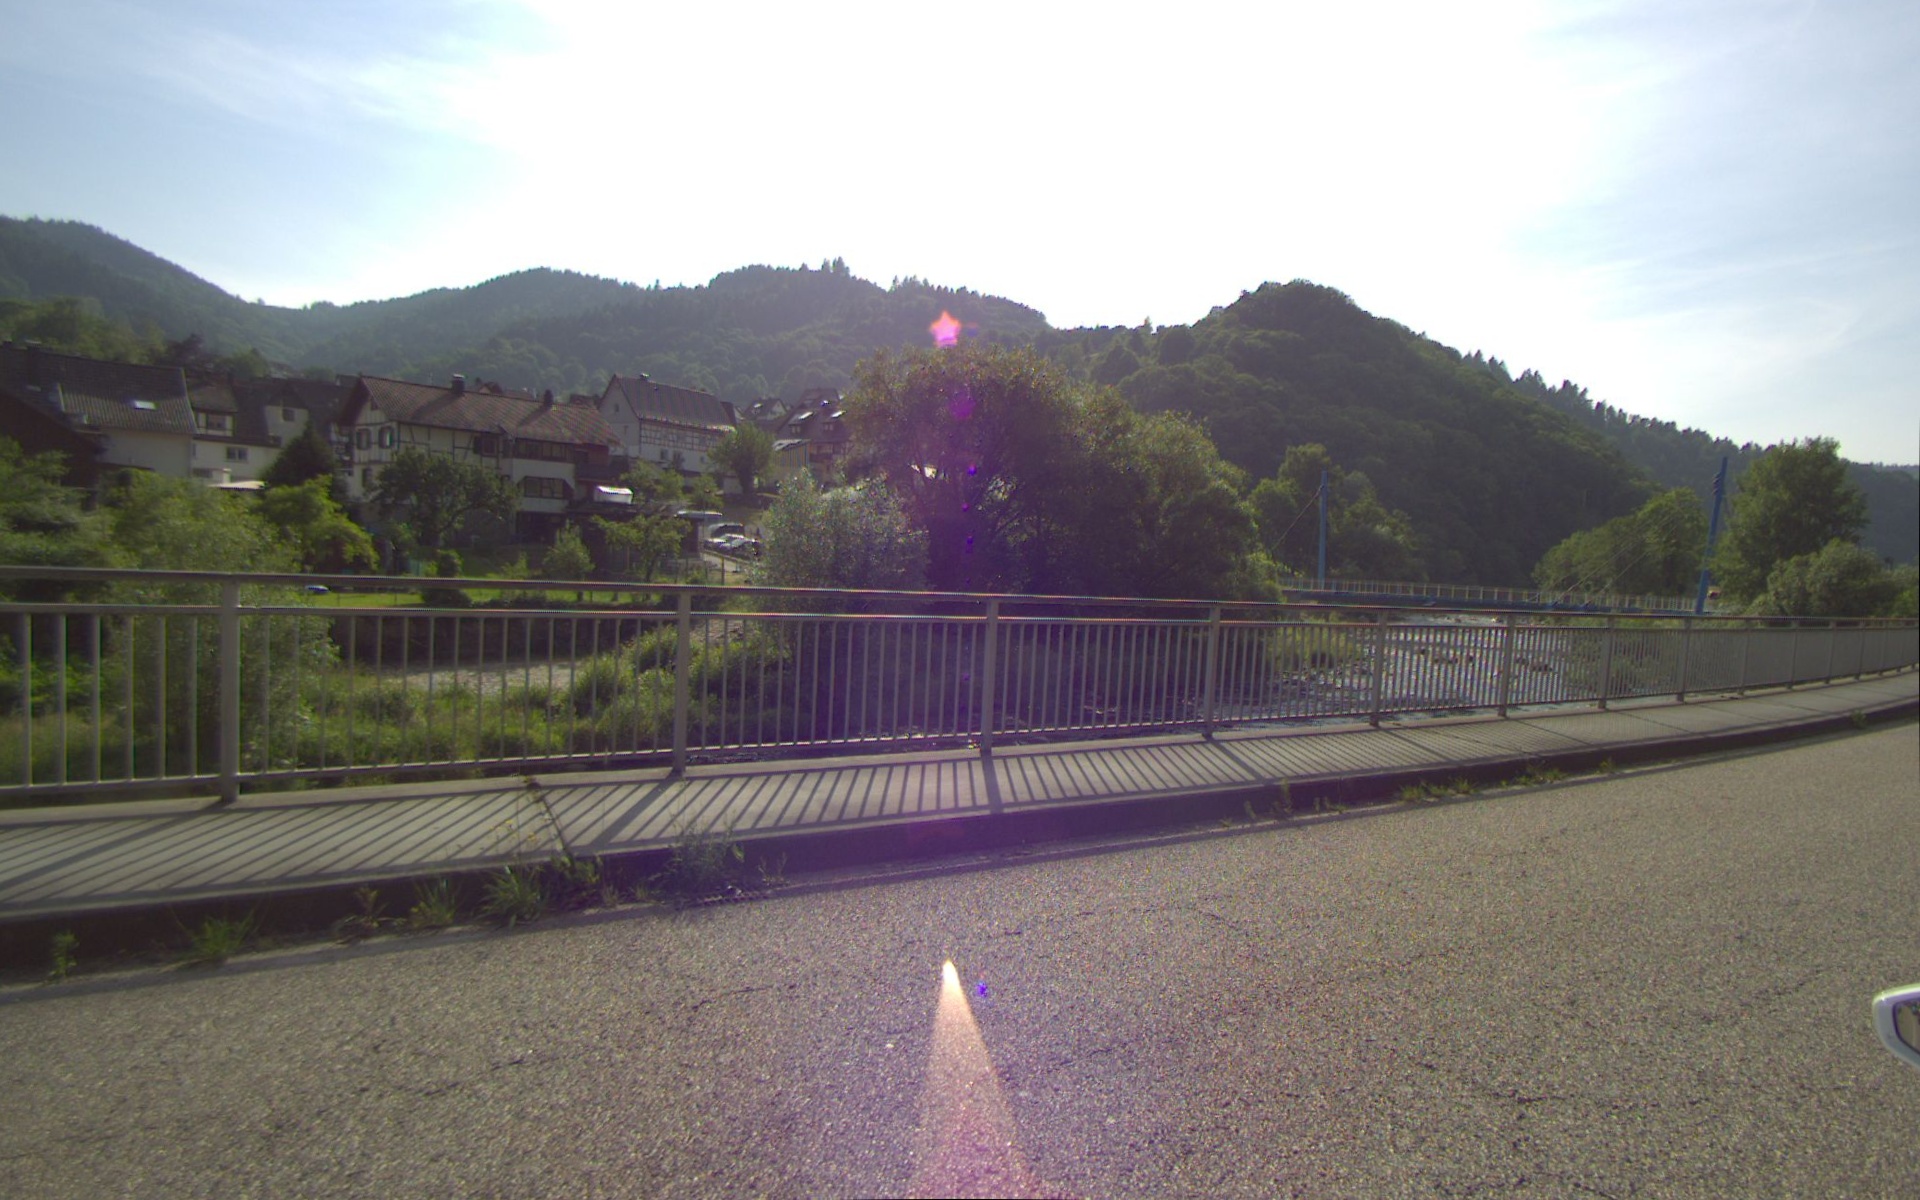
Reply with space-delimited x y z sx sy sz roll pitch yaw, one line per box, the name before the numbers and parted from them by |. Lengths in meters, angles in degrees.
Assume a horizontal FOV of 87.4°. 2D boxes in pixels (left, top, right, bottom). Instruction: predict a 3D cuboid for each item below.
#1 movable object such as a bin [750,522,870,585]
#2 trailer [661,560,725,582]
movable object such as a bin | -11.274 -3.497 75.895 8.006 3.256 3.552 10 2 3
trailer | -17.171 -1.853 64.693 1.865 1.327 3.688 1 0 34
